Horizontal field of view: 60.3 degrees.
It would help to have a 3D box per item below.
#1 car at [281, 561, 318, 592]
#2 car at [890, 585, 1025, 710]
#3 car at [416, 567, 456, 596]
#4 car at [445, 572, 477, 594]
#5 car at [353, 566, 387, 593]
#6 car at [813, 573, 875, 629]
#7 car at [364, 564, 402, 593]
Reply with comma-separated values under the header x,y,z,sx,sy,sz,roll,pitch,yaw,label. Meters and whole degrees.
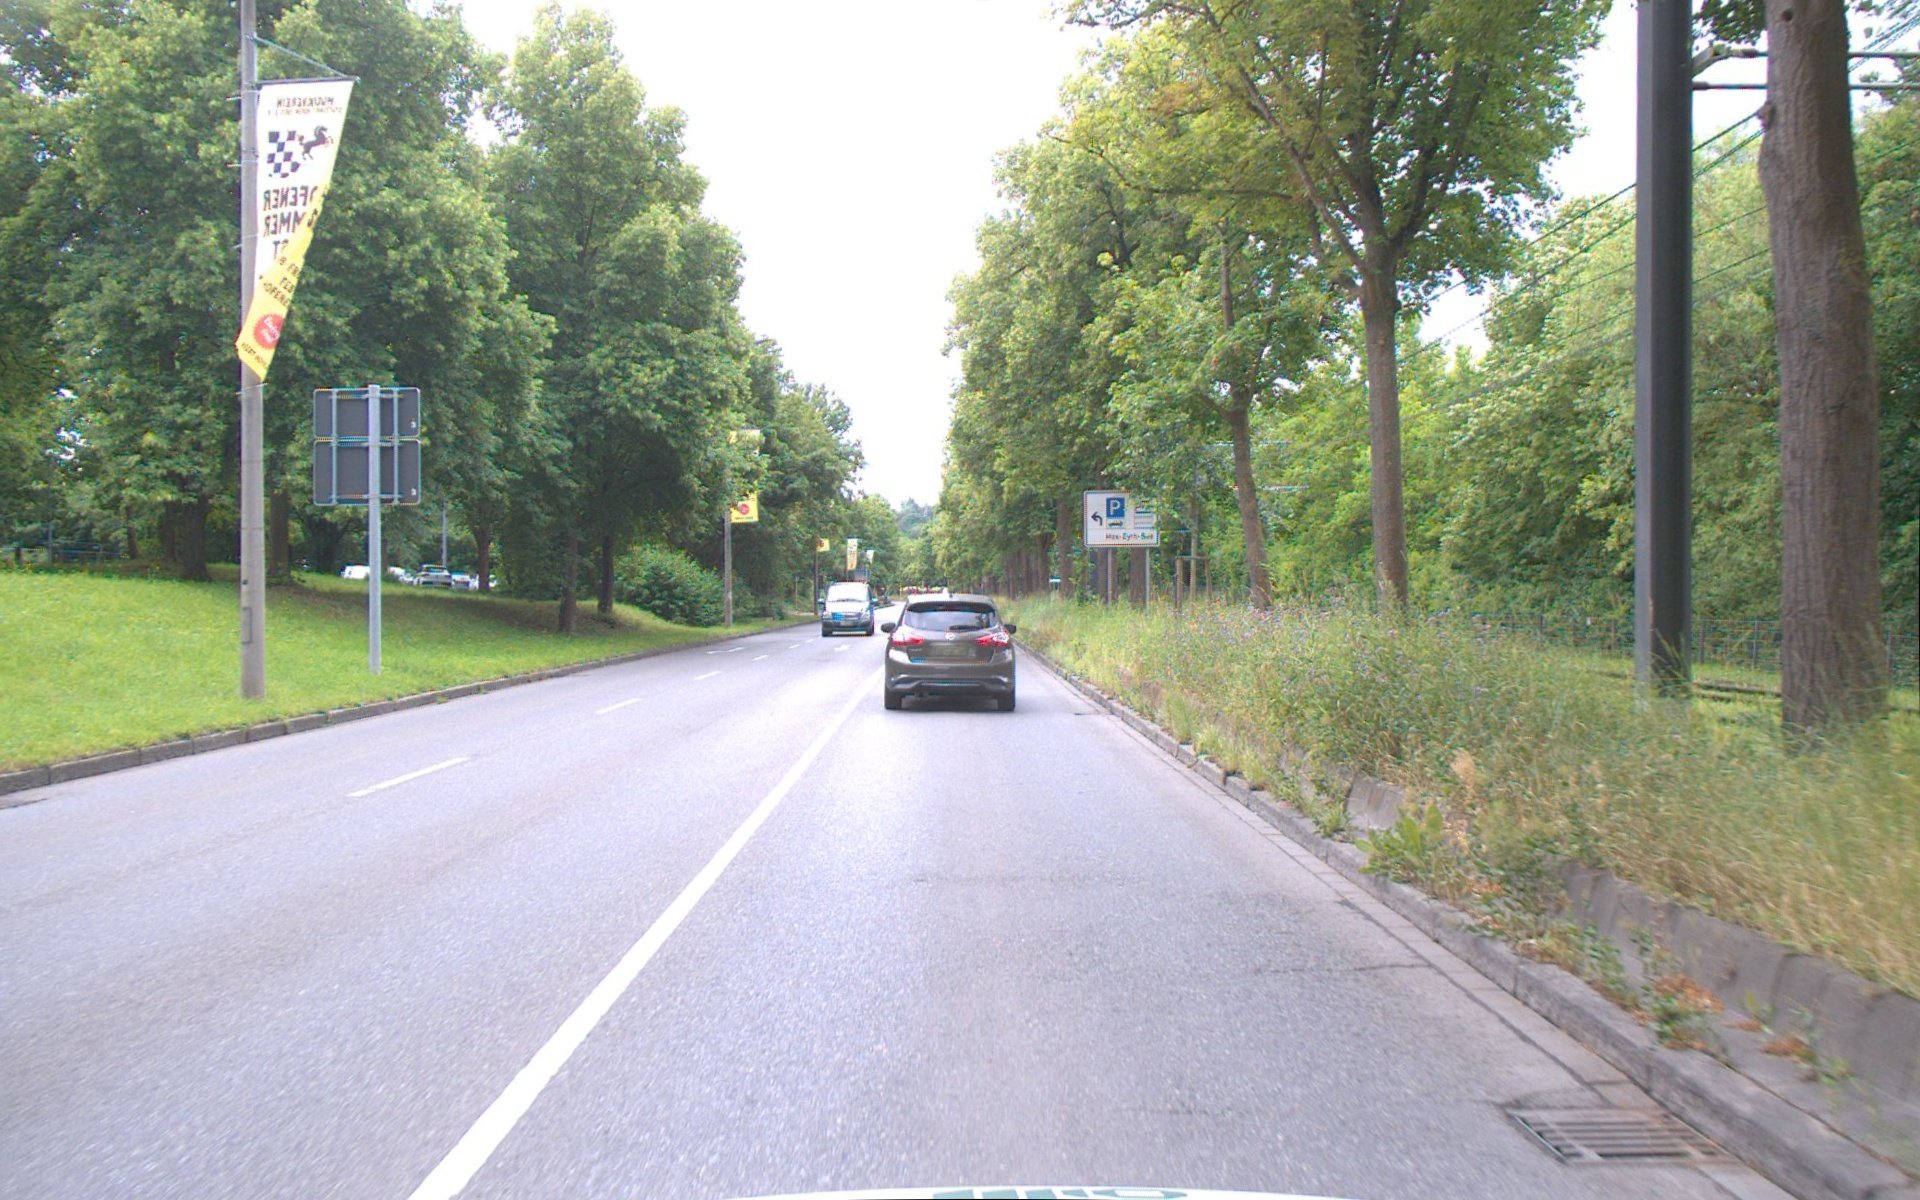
x,y,z,sx,sy,sz,roll,pitch,yaw,label
-34.595,-1.220,86.611,1.624,1.512,3.970,1,0,-24,car
-0.070,0.602,22.806,1.695,1.564,3.551,1,0,-1,car
-28.610,-1.012,90.199,1.624,1.512,3.970,1,0,-24,car
-35.172,-1.200,116.486,1.624,1.512,3.970,1,0,-24,car
-35.404,-1.222,99.154,1.624,1.512,3.970,1,0,-24,car
-4.298,0.054,62.053,1.953,1.990,5.183,0,0,0,car
-31.337,-1.155,89.825,1.624,1.512,3.970,1,0,-24,car
